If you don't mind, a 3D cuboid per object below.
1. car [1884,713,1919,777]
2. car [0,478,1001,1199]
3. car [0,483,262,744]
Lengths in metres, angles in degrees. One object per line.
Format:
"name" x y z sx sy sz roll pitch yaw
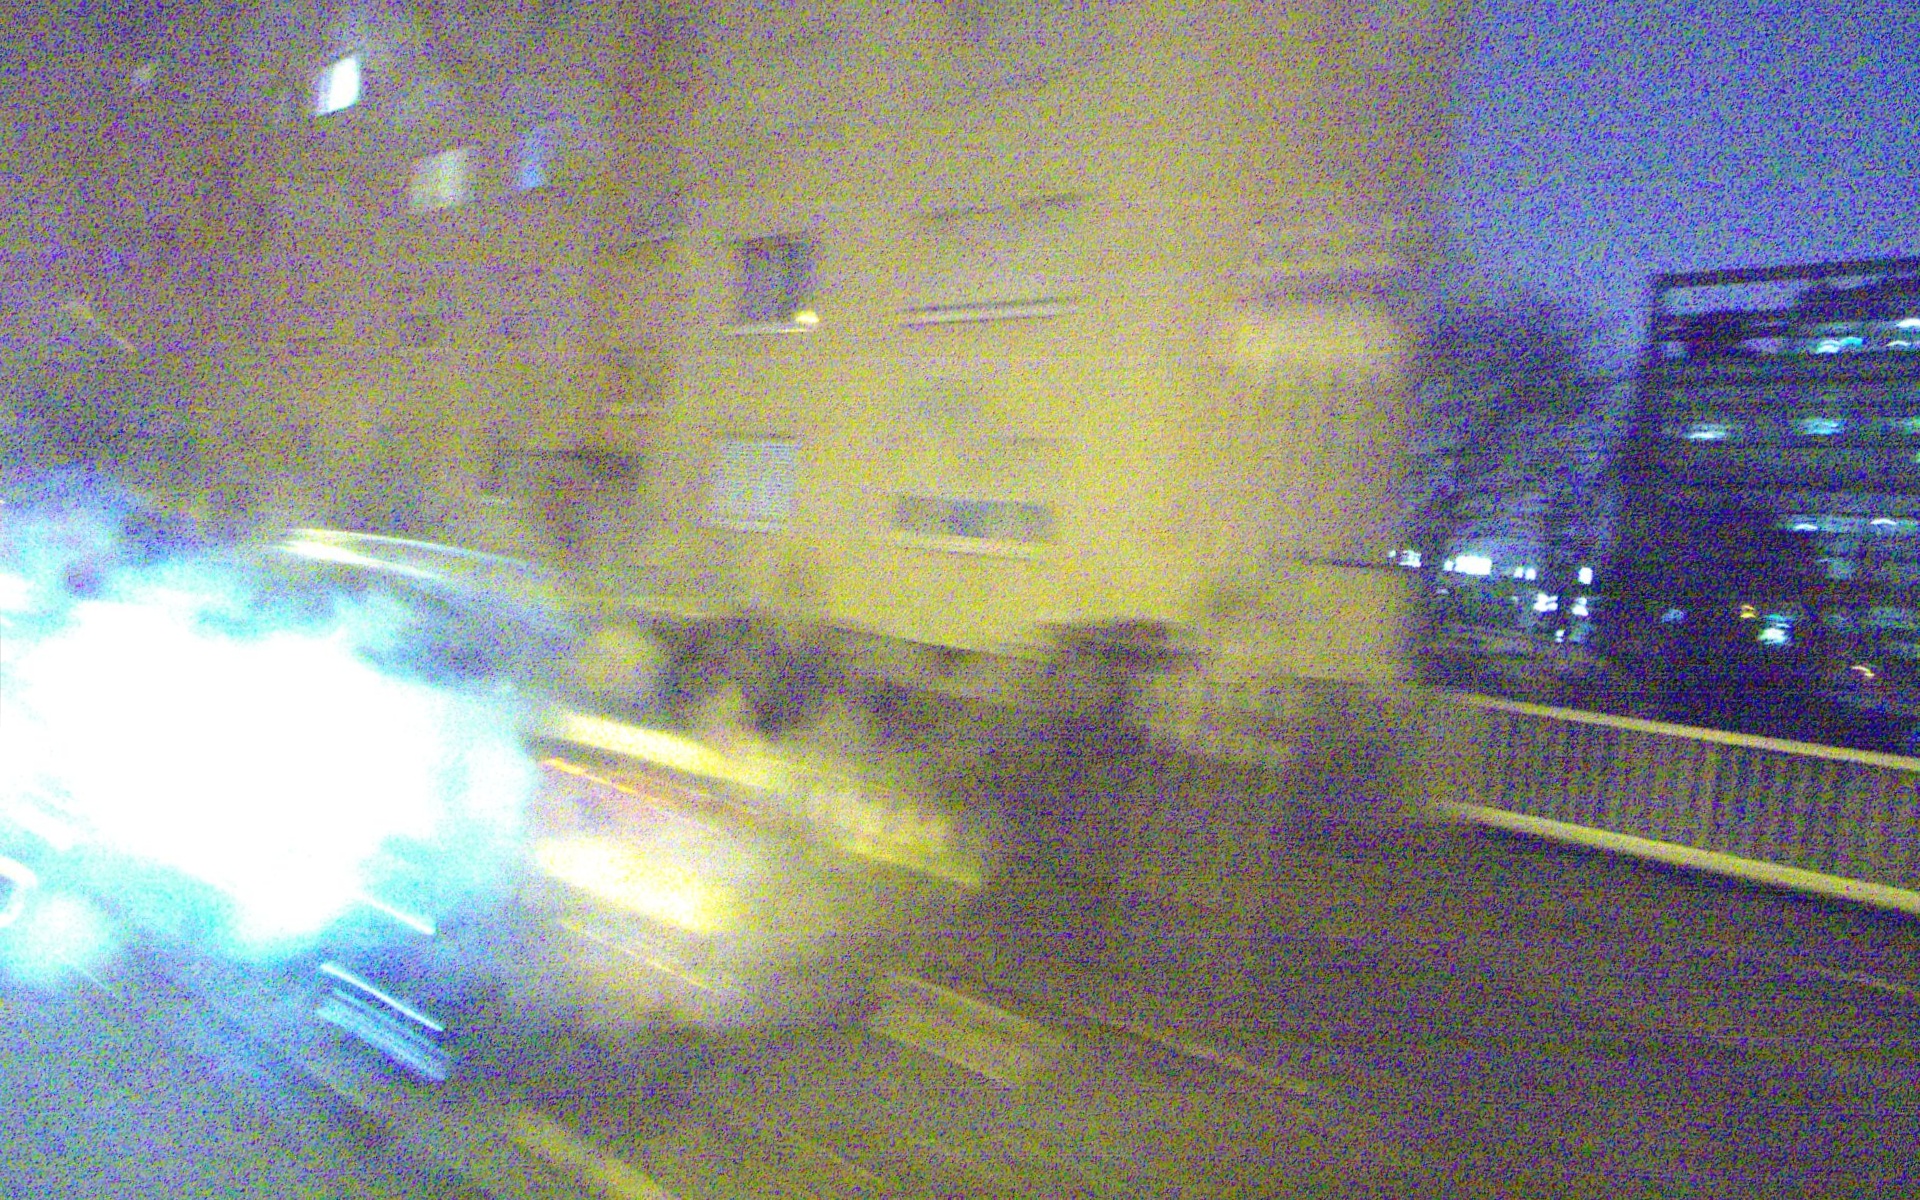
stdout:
"car" 27.985 4.206 28.421 1.964 1.608 4.589 7 0 35
"car" -2.214 0.463 4.111 4.436 1.485 1.629 8 2 33
"car" -6.647 -0.082 6.941 3.729 1.407 1.604 7 3 31
